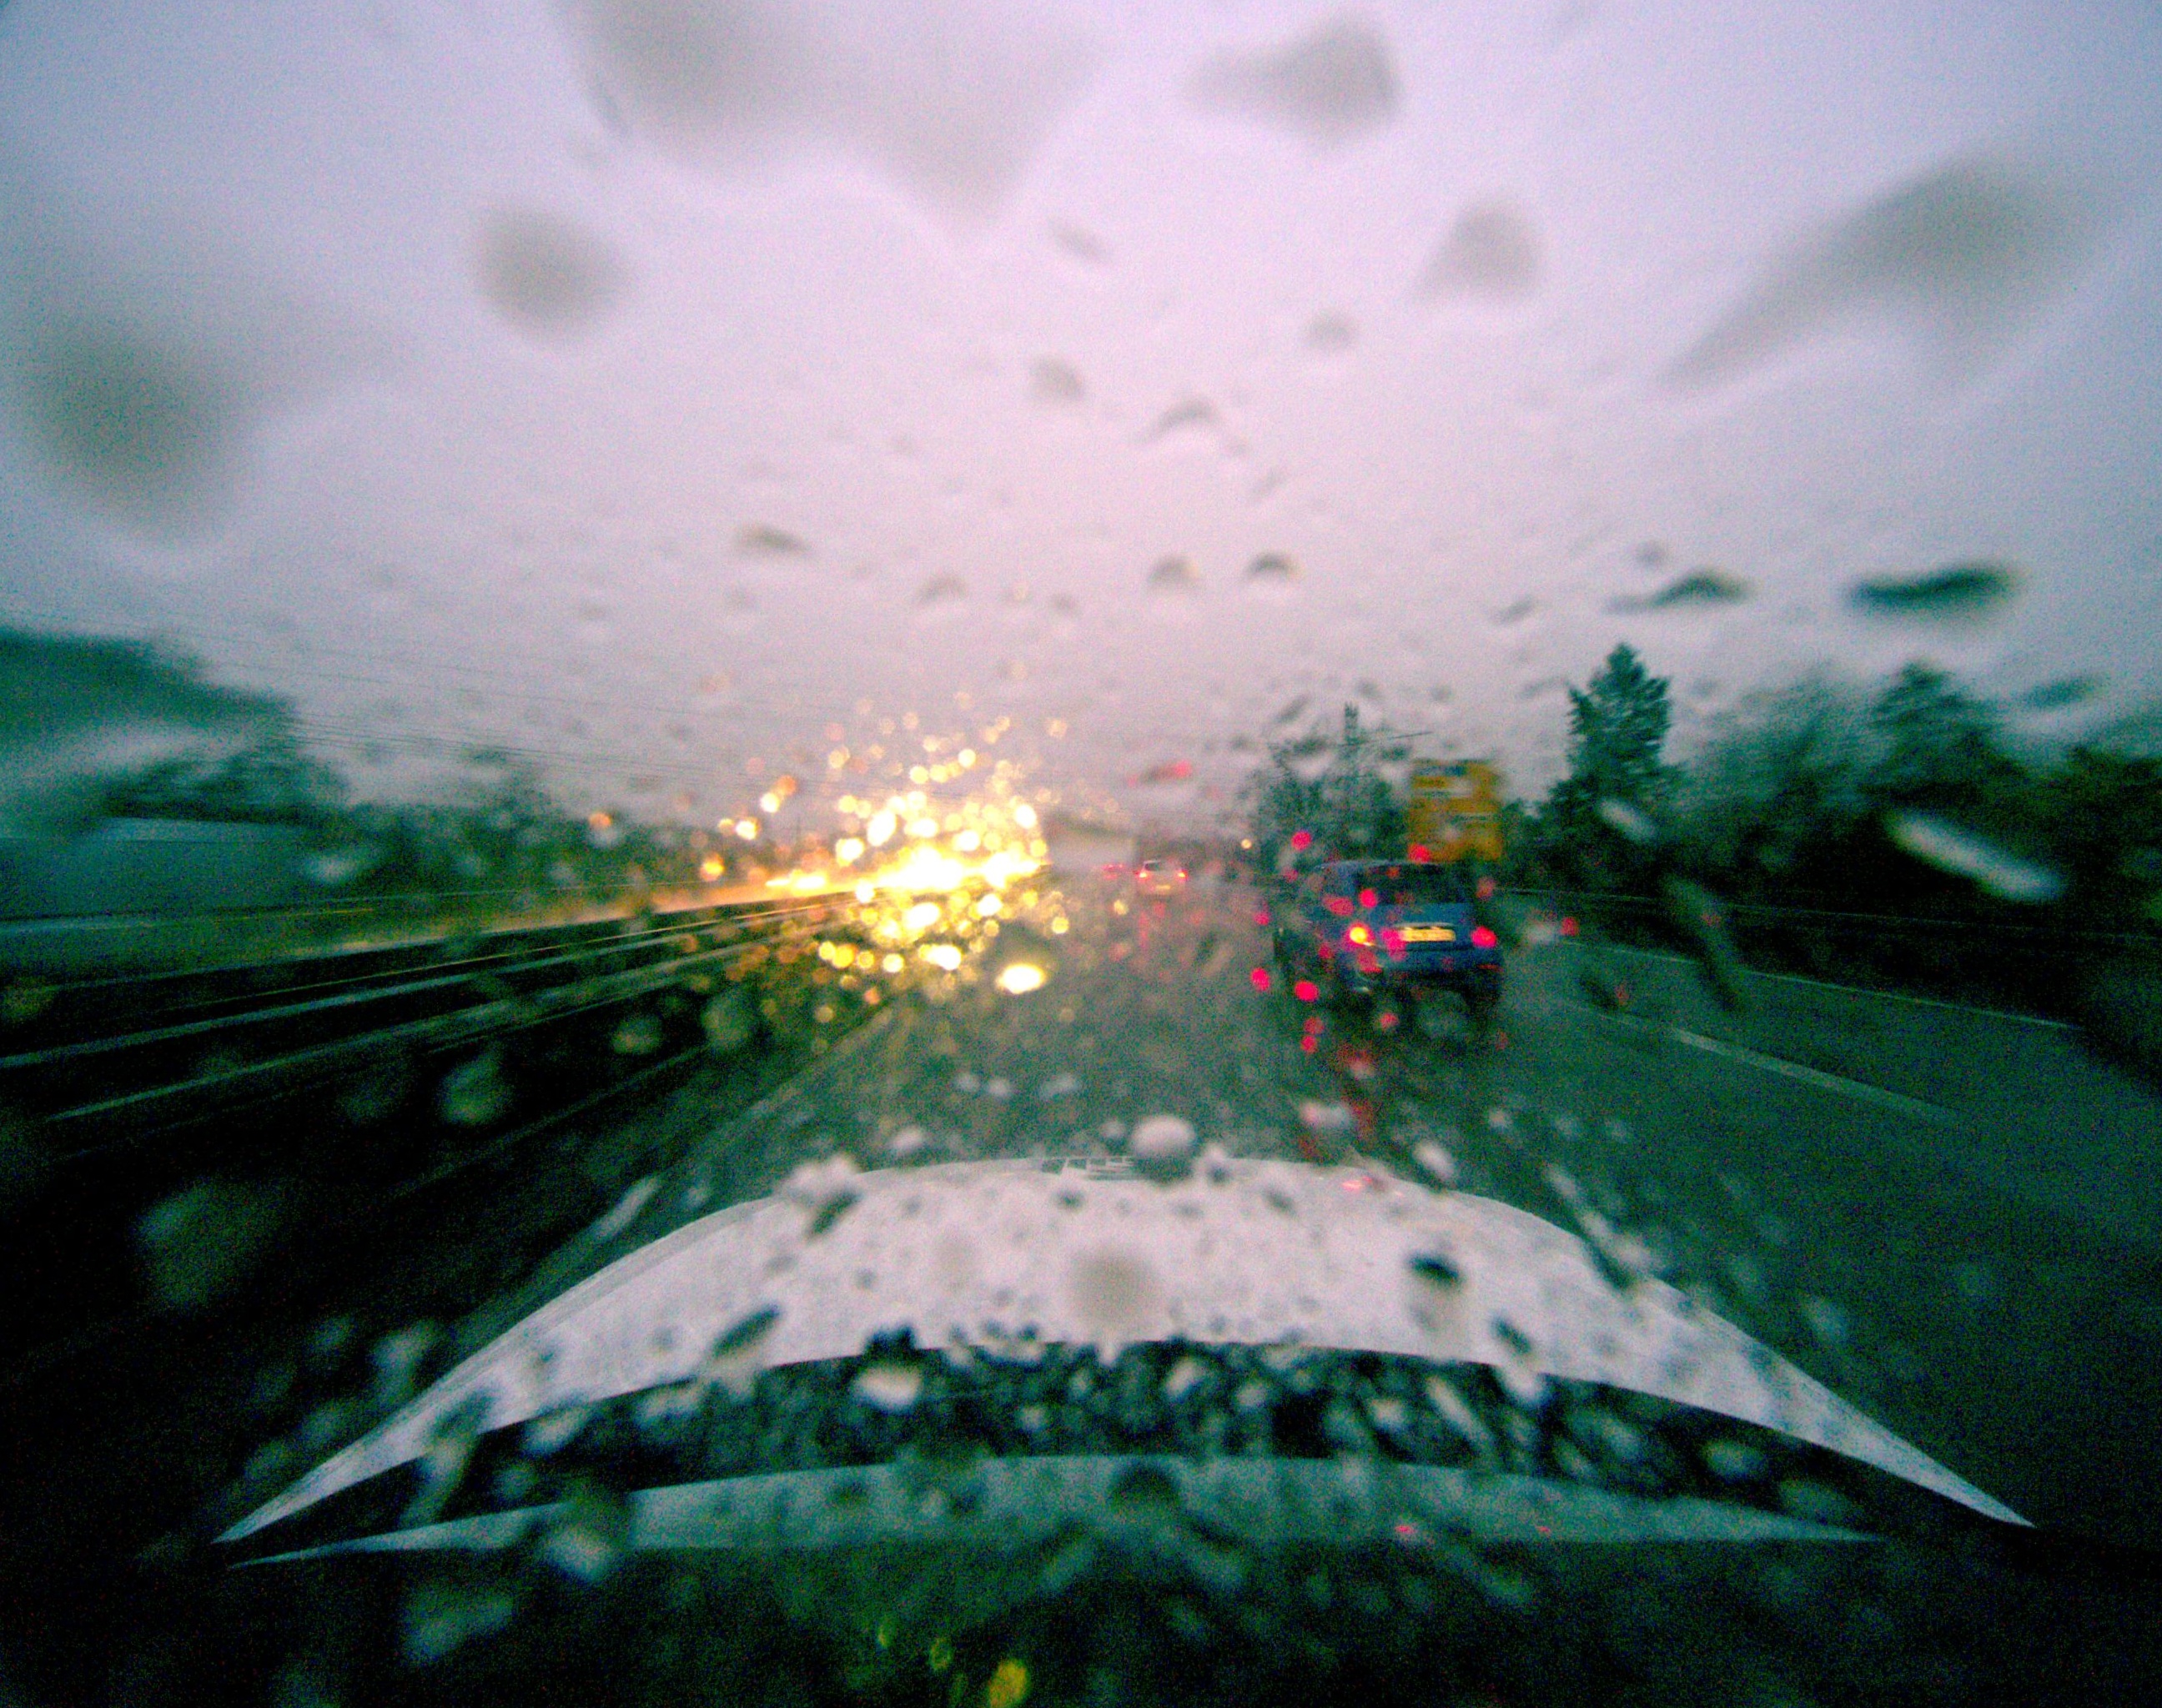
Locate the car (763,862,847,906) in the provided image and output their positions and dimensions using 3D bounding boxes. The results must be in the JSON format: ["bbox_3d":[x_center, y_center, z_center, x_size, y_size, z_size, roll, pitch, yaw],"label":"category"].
[{"bbox_3d":[-11.390,1.191,33.950,1.978,1.551,4.391,-1,1,-1],"label":"car"}]

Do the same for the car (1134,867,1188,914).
[{"bbox_3d":[2.954,1.322,30.737,1.838,1.636,3.770,0,0,3],"label":"car"}]

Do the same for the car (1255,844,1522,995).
[{"bbox_3d":[3.459,0.623,10.069,1.838,1.453,4.151,-1,1,2],"label":"car"}]

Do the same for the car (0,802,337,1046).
[{"bbox_3d":[-7.872,0.458,5.373,1.985,1.551,4.139,-1,1,2],"label":"car"}]

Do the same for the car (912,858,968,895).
[{"bbox_3d":[-6.762,1.037,39.527,1.811,1.551,4.470,-1,1,1],"label":"car"}]
